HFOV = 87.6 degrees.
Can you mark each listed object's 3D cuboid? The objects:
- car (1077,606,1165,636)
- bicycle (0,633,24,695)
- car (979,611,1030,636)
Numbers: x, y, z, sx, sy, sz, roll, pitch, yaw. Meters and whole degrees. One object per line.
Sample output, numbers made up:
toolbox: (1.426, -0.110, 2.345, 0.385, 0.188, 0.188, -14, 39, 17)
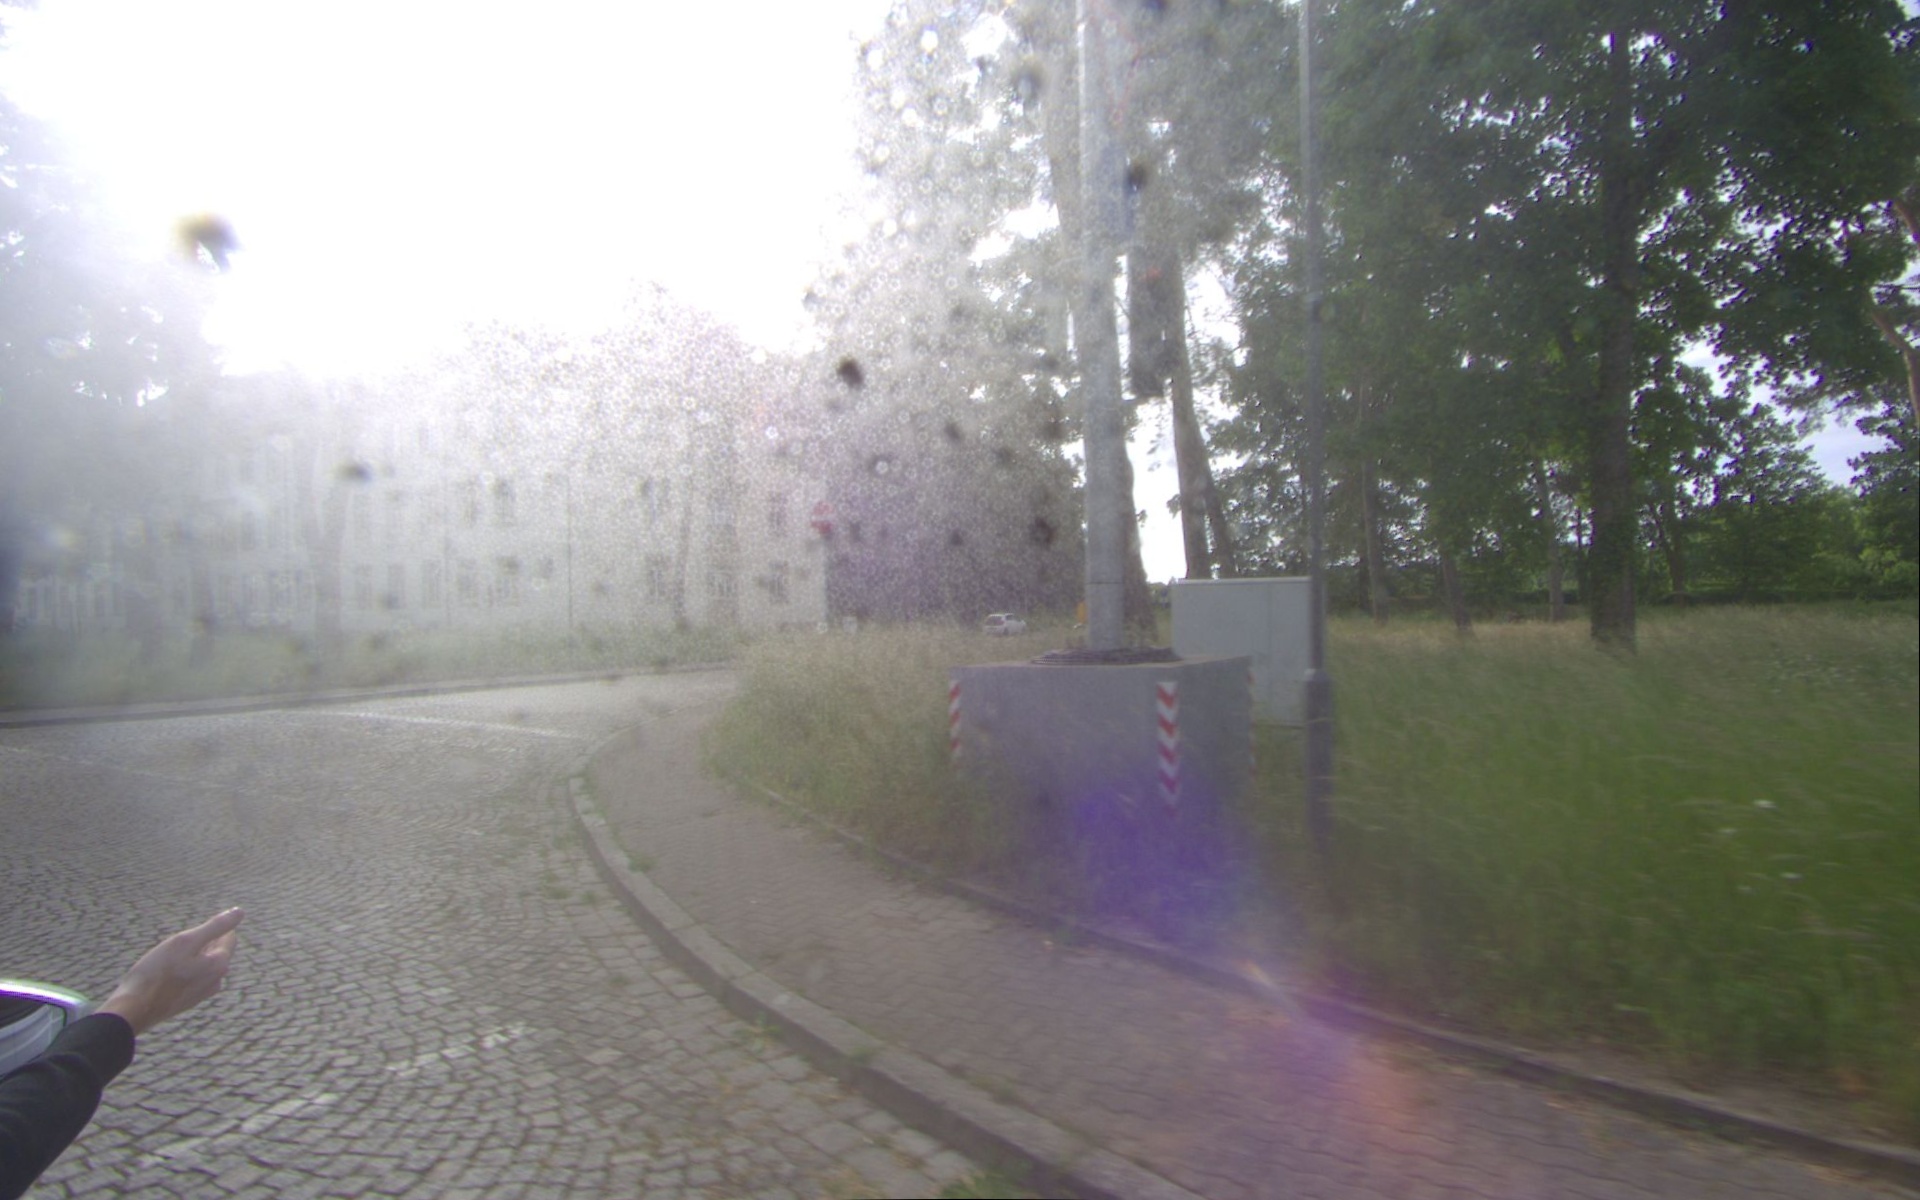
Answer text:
car: (8.859, 1.154, 55.142, 4.383, 1.607, 1.991, -1, 0, 30)
bicycle: (-17.703, 1.156, 18.008, 1.805, 1.077, 0.643, -1, 4, 28)
car: (2.870, 1.476, 63.948, 1.748, 1.553, 3.675, -1, -1, 32)
